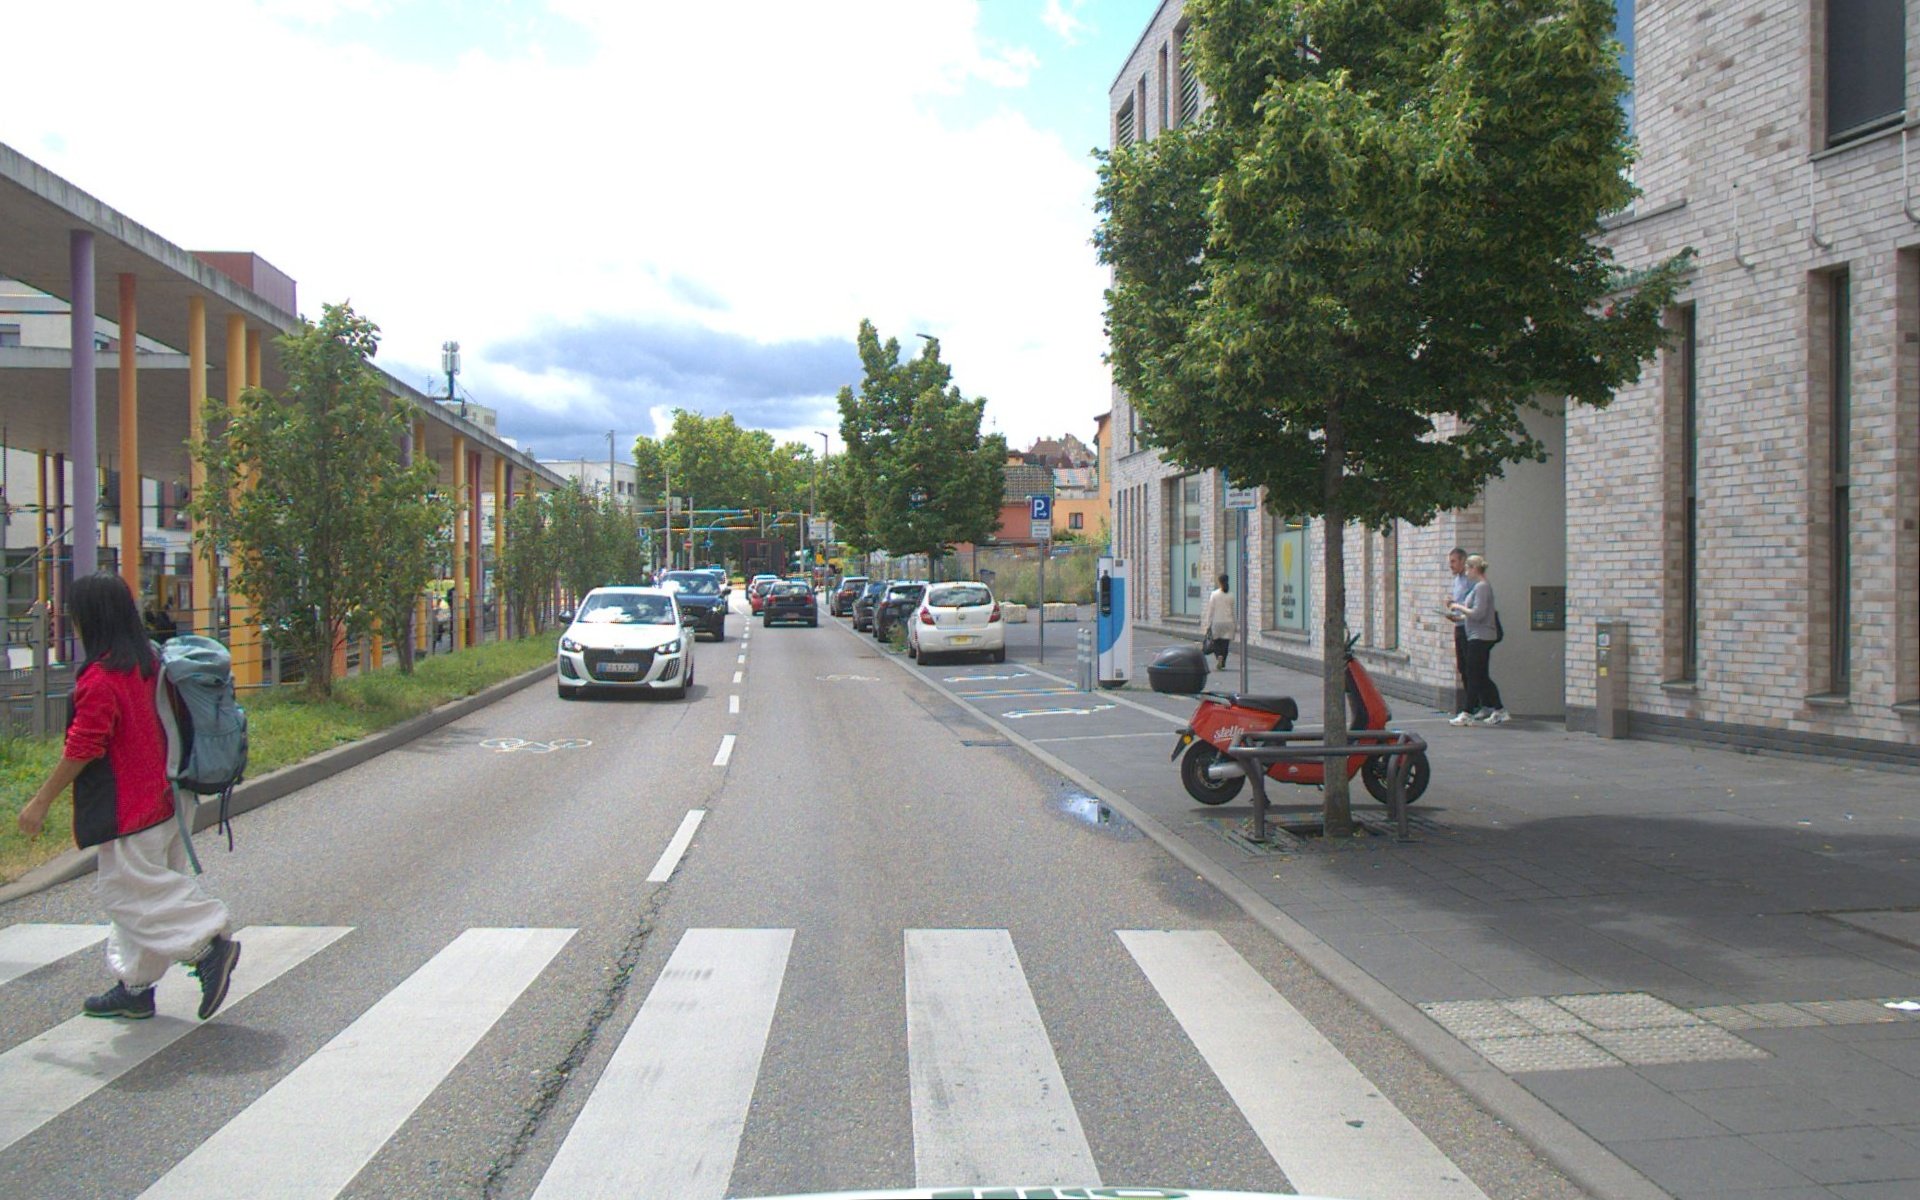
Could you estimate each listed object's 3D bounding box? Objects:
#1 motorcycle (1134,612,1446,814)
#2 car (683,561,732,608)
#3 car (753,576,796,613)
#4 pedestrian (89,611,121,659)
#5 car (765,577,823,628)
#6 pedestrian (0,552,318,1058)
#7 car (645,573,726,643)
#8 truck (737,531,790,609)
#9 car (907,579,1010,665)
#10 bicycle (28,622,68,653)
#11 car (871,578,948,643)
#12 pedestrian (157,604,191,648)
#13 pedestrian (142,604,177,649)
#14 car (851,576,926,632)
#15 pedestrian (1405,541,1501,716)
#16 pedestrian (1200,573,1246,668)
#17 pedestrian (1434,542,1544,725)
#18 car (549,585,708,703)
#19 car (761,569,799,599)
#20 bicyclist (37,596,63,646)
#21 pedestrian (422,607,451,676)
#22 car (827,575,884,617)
[{"bbox_3d":[2.257,0.773,11.414,2.006,1.288,0.673,-2,-1,11],"label":"motorcycle"},{"bbox_3d":[-11.217,-0.690,73.258,1.968,1.950,5.052,1,0,-10],"label":"car"},{"bbox_3d":[-7.828,-0.259,69.515,1.680,1.417,3.802,-1,1,-8],"label":"car"},{"bbox_3d":[-26.064,1.062,50.417,0.639,1.403,0.701,1,1,-6],"label":"pedestrian"},{"bbox_3d":[-5.338,0.047,52.907,1.694,1.482,3.803,-1,1,-8],"label":"car"},{"bbox_3d":[-2.792,0.655,5.670,0.910,1.593,0.813,1,-1,-9],"label":"pedestrian"},{"bbox_3d":[-6.868,0.173,41.619,1.884,1.633,4.618,1,0,-9],"label":"car"},{"bbox_3d":[-12.410,-1.779,104.426,3.142,4.615,9.014,1,-1,-7],"label":"truck"},{"bbox_3d":[-0.087,0.370,32.256,1.660,1.509,3.794,-2,1,-5],"label":"car"},{"bbox_3d":[-29.744,1.213,53.964,0.474,0.980,1.611,1,-1,-4],"label":"bicycle"},{"bbox_3d":[-1.320,0.216,41.566,1.660,1.486,4.142,-2,1,-5],"label":"car"},{"bbox_3d":[-25.714,0.851,54.104,0.807,1.403,0.701,1,1,-6],"label":"pedestrian"},{"bbox_3d":[-25.678,0.839,53.082,0.807,1.403,0.701,1,1,-6],"label":"pedestrian"},{"bbox_3d":[-2.127,0.081,48.034,1.829,1.476,4.637,-2,1,-7],"label":"car"},{"bbox_3d":[5.201,0.295,17.455,0.722,1.797,0.621,-1,-1,-13],"label":"pedestrian"},{"bbox_3d":[4.268,0.324,26.879,0.594,1.498,0.791,-2,1,1],"label":"pedestrian"},{"bbox_3d":[5.344,0.330,16.733,0.722,1.797,0.753,-1,-1,-21],"label":"pedestrian"},{"bbox_3d":[-4.539,0.549,23.131,1.776,1.494,3.903,1,0,-6],"label":"car"},{"bbox_3d":[-9.601,-0.829,88.115,1.852,1.491,4.062,-1,0,-8],"label":"car"},{"bbox_3d":[-29.744,0.693,54.056,0.474,1.621,0.681,1,-1,-4],"label":"bicyclist"},{"bbox_3d":[-14.173,1.125,44.775,0.575,1.862,0.709,1,-1,-5],"label":"pedestrian"},{"bbox_3d":[-3.975,-0.182,62.523,1.749,1.477,4.468,-2,1,-8],"label":"car"}]
